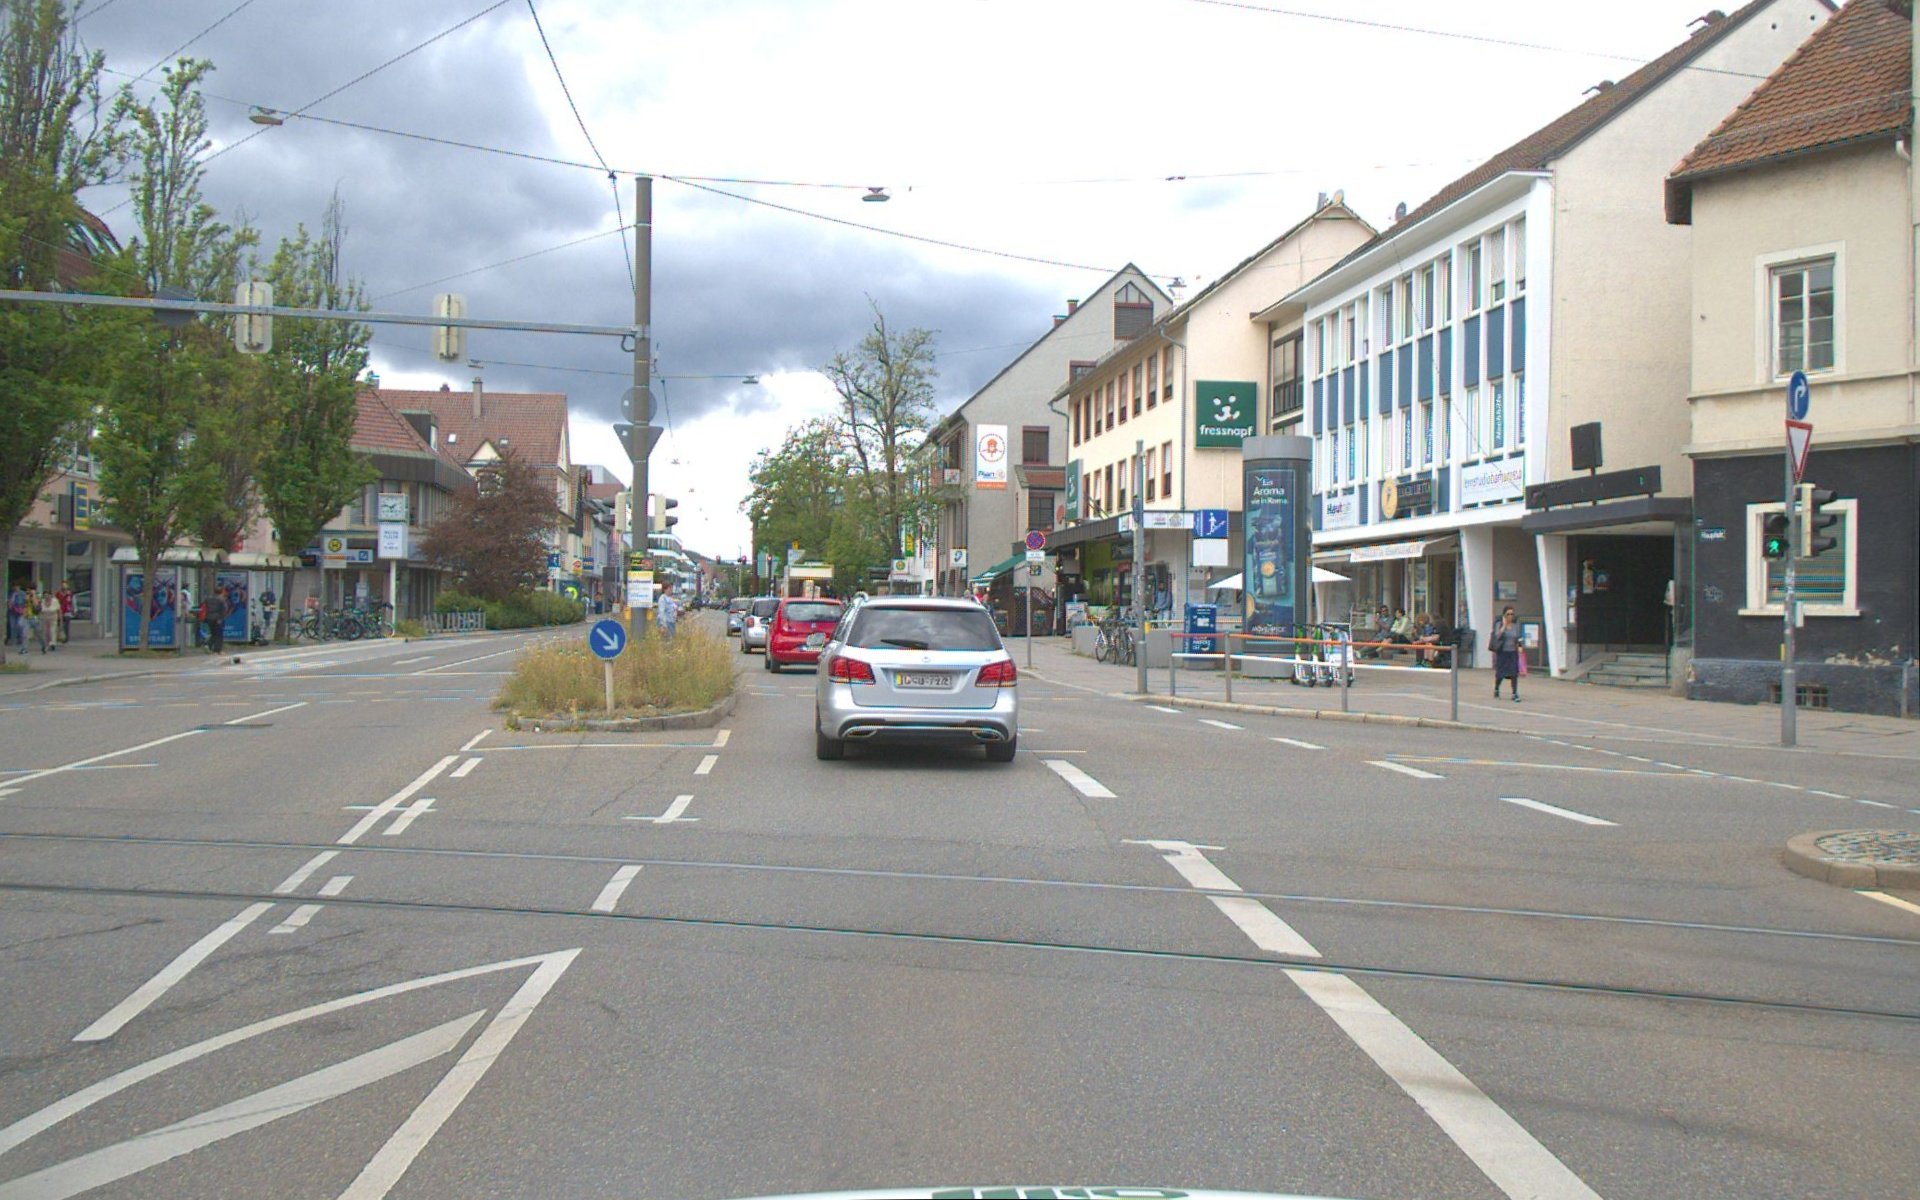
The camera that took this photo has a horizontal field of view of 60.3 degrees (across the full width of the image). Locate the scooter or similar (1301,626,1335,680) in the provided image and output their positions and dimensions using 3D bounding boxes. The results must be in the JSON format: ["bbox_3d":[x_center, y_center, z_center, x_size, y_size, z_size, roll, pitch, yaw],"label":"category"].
[{"bbox_3d":[7.009,1.036,32.381,0.266,1.019,1.026,1,0,-11],"label":"scooter or similar"}]

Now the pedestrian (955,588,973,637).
[{"bbox_3d":[0.143,0.440,58.788,0.566,1.695,0.651,2,-1,-2],"label":"pedestrian"}]

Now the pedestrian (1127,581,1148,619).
[{"bbox_3d":[5.903,-0.010,55.092,0.523,1.240,0.578,2,-1,-10],"label":"pedestrian"}]

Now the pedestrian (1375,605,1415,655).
[{"bbox_3d":[10.644,0.735,40.515,0.723,1.184,0.641,2,-1,-10],"label":"pedestrian"}]

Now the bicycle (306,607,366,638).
[{"bbox_3d":[-21.985,0.785,58.316,1.907,1.047,0.528,2,-1,-18],"label":"bicycle"}]

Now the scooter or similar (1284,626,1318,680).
[{"bbox_3d":[6.659,1.036,32.293,0.266,1.019,1.026,1,0,-11],"label":"scooter or similar"}]

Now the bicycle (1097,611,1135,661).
[{"bbox_3d":[3.692,0.832,39.189,0.439,1.127,2.146,1,0,-7],"label":"bicycle"}]

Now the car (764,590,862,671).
[{"bbox_3d":[-3.029,0.574,33.419,1.702,1.534,3.992,1,0,-9],"label":"car"}]

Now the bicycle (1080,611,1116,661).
[{"bbox_3d":[3.255,0.836,39.127,0.439,1.110,2.146,1,0,-7],"label":"bicycle"}]

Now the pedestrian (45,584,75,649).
[{"bbox_3d":[-22.948,0.410,42.191,0.569,1.634,0.640,1,0,-21],"label":"pedestrian"}]

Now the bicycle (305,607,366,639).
[{"bbox_3d":[-21.559,0.792,57.114,1.907,1.047,0.528,2,-1,-18],"label":"bicycle"}]

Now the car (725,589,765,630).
[{"bbox_3d":[-9.548,0.404,73.608,1.701,1.790,3.994,0,0,-7],"label":"car"}]

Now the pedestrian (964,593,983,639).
[{"bbox_3d":[0.442,0.527,55.026,0.566,1.495,0.651,2,-1,2],"label":"pedestrian"}]

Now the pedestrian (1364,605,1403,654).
[{"bbox_3d":[10.543,0.740,41.180,0.723,1.184,0.641,2,-1,-10],"label":"pedestrian"}]

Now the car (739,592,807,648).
[{"bbox_3d":[-5.366,0.538,47.109,1.702,1.534,3.991,0,0,-10],"label":"car"}]

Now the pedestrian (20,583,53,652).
[{"bbox_3d":[-22.070,0.425,39.526,0.569,1.634,0.640,1,0,-21],"label":"pedestrian"}]

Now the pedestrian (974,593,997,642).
[{"bbox_3d":[0.768,0.537,50.125,0.567,1.460,0.650,2,-1,-6],"label":"pedestrian"}]

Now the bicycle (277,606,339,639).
[{"bbox_3d":[-22.172,0.770,56.283,1.907,1.047,0.528,2,-1,-18],"label":"bicycle"}]

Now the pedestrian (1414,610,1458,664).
[{"bbox_3d":[10.718,0.832,37.265,0.723,1.184,0.641,2,-1,-10],"label":"pedestrian"}]

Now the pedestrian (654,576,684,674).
[{"bbox_3d":[-5.402,0.464,30.681,0.523,1.794,0.578,1,0,-10],"label":"pedestrian"}]

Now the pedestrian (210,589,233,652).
[{"bbox_3d":[-18.656,0.510,41.792,0.526,1.573,0.575,1,0,-24],"label":"pedestrian"}]

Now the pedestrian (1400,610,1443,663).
[{"bbox_3d":[10.588,0.832,37.951,0.723,1.184,0.641,2,-1,-10],"label":"pedestrian"}]

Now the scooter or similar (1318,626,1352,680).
[{"bbox_3d":[7.359,1.039,32.462,0.266,1.019,1.026,1,0,-11],"label":"scooter or similar"}]

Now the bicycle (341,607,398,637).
[{"bbox_3d":[-21.797,0.803,61.099,1.907,1.047,0.528,2,-1,-18],"label":"bicycle"}]

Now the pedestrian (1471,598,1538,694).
[{"bbox_3d":[9.357,0.785,28.444,0.633,1.619,0.890,2,-1,-28],"label":"pedestrian"}]

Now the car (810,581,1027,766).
[{"bbox_3d":[-0.303,0.610,15.953,1.807,1.534,4.172,0,0,1],"label":"car"}]

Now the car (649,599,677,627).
[{"bbox_3d":[-22.505,0.959,125.381,1.957,2.049,3.991,1,0,-10],"label":"car"}]

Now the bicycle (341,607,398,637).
[{"bbox_3d":[-21.469,0.809,60.164,1.907,1.047,0.528,2,-1,-18],"label":"bicycle"}]

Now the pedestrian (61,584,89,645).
[{"bbox_3d":[-23.921,0.392,44.702,0.569,1.634,0.640,1,0,-21],"label":"pedestrian"}]

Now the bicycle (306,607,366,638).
[{"bbox_3d":[-21.780,0.788,57.748,1.907,1.047,0.528,2,-1,-18],"label":"bicycle"}]
